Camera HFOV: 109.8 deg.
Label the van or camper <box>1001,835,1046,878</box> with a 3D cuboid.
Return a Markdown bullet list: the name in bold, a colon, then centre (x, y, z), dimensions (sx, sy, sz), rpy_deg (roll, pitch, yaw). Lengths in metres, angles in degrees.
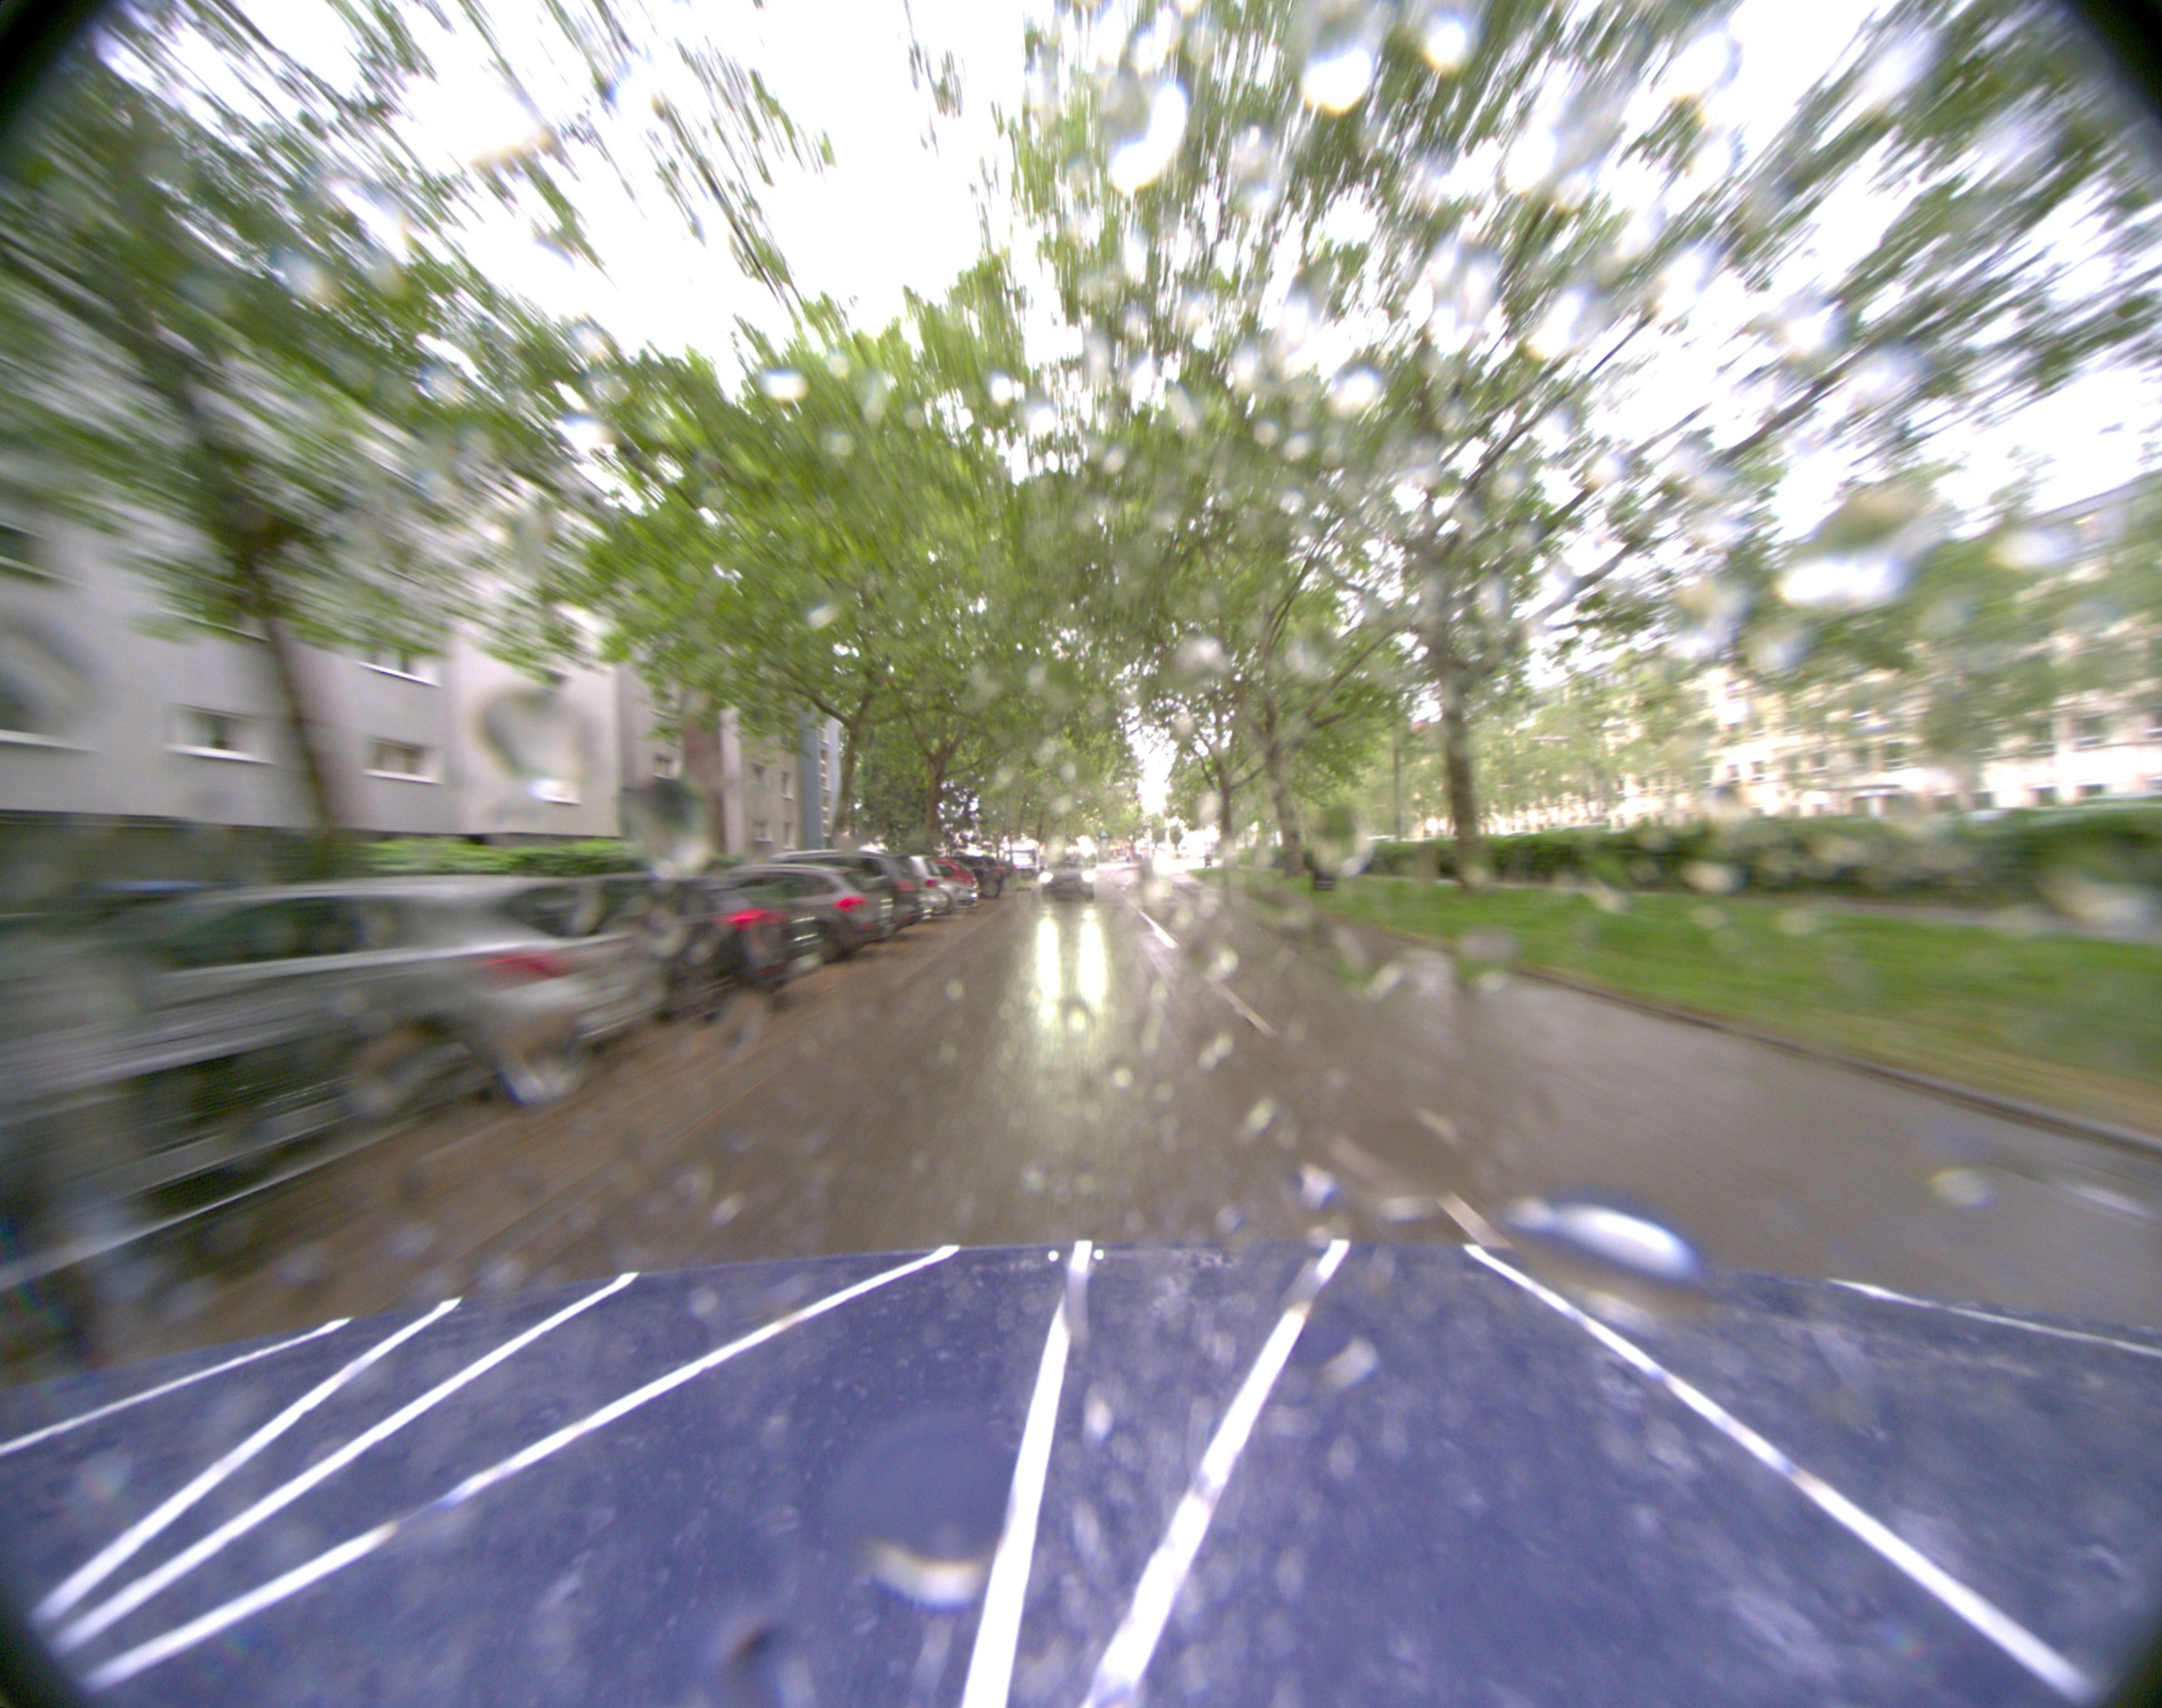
- **van or camper**: centre (-4.085, 0.162, 55.062), dimensions (2.324, 2.791, 6.864), rpy_deg (-3, 0, 2)

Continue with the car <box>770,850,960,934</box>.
- **car**: centre (-5.169, 0.891, 18.536), dimensions (3.997, 1.717, 1.801), rpy_deg (-4, 0, 1)

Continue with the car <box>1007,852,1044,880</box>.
- **car**: centre (-3.629, 0.763, 49.147), dimensions (1.693, 1.643, 2.942), rpy_deg (-4, 0, -16)

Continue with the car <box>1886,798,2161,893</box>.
- **car**: centre (17.521, -0.146, 13.704), dimensions (3.998, 1.584, 1.999), rpy_deg (0, 0, -2)

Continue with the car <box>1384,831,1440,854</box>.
- **car**: centre (27.090, -0.946, 62.290), dimensions (3.816, 1.589, 1.718), rpy_deg (-4, 0, -3)

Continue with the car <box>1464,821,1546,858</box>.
- **car**: centre (26.863, -0.892, 48.224), dimensions (3.996, 2.120, 2.000), rpy_deg (-2, 0, 2)

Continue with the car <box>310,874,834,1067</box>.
- **car**: centre (-4.830, 1.060, 7.699), dimensions (4.046, 1.433, 1.685), rpy_deg (-4, 0, -3)

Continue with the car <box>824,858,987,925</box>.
- **car**: centre (-4.717, 1.002, 20.904), dimensions (3.997, 1.504, 1.801), rpy_deg (-4, 0, -1)

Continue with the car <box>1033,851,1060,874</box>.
- **car**: centre (-2.763, 0.676, 61.938), dimensions (1.920, 1.611, 4.452), rpy_deg (-4, 2, -1)

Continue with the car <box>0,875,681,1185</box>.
- **car**: centre (-5.368, 1.058, 5.216), dimensions (4.221, 1.575, 1.746), rpy_deg (-3, 0, -2)

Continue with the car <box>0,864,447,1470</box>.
- **car**: centre (-5.119, 0.974, 2.584), dimensions (4.221, 1.646, 1.913), rpy_deg (-3, 0, 0)

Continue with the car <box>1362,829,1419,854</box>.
- **car**: centre (26.590, -1.065, 65.315), dimensions (3.998, 1.822, 1.854), rpy_deg (-4, 0, -3)

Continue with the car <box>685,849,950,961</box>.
- **car**: centre (-4.920, 0.922, 14.641), dimensions (4.348, 1.751, 1.819), rpy_deg (-4, 0, 0)

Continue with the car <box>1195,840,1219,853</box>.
- **car**: centre (24.233, -1.467, 146.429), dimensions (2.190, 2.242, 4.893), rpy_deg (-3, 0, 41)

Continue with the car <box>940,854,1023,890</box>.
- **car**: centre (-5.143, 0.933, 39.291), dimensions (3.774, 1.592, 1.799), rpy_deg (-4, 0, -30)

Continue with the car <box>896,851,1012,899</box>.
- **car**: centre (-4.730, 0.753, 28.287), dimensions (3.873, 1.687, 1.834), rpy_deg (-1, -1, -27)

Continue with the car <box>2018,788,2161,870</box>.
- **car**: centre (27.649, -0.669, 19.763), dimensions (3.996, 2.002, 2.000), rpy_deg (-2, 1, 2)

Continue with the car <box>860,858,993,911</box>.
- **car**: centre (-4.732, 0.910, 23.603), dimensions (3.712, 1.527, 1.738), rpy_deg (-1, 0, 3)

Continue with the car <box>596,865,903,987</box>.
- **car**: centre (-5.035, 1.065, 11.913), dimensions (3.997, 1.528, 1.631), rpy_deg (-4, 0, 0)

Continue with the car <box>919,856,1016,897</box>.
- **car**: centre (-5.307, 1.017, 35.575), dimensions (4.005, 1.592, 1.799), rpy_deg (-4, 0, -30)

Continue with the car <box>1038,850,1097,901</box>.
- **car**: centre (-0.421, 0.719, 28.098), dimensions (1.961, 1.702, 4.174), rpy_deg (-2, 0, 2)
